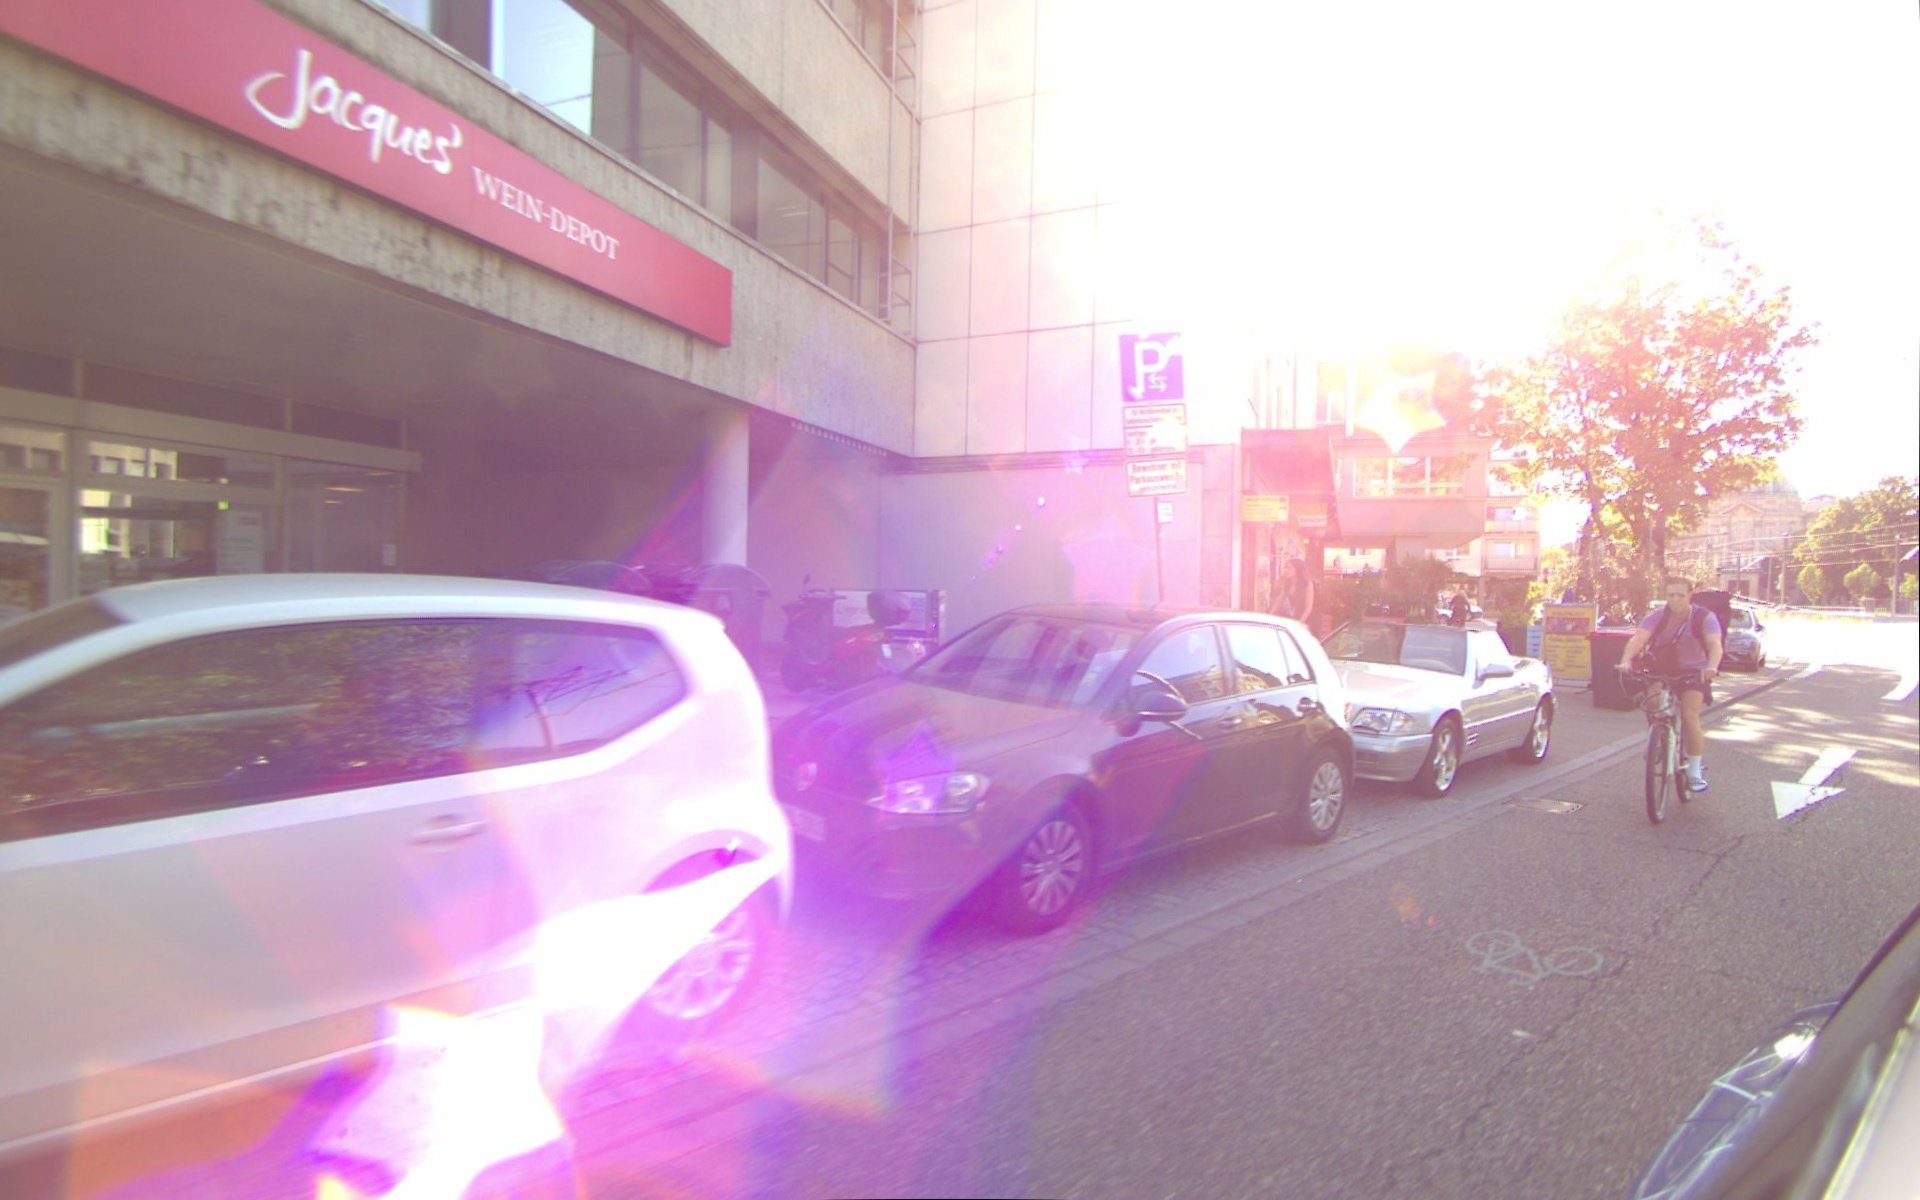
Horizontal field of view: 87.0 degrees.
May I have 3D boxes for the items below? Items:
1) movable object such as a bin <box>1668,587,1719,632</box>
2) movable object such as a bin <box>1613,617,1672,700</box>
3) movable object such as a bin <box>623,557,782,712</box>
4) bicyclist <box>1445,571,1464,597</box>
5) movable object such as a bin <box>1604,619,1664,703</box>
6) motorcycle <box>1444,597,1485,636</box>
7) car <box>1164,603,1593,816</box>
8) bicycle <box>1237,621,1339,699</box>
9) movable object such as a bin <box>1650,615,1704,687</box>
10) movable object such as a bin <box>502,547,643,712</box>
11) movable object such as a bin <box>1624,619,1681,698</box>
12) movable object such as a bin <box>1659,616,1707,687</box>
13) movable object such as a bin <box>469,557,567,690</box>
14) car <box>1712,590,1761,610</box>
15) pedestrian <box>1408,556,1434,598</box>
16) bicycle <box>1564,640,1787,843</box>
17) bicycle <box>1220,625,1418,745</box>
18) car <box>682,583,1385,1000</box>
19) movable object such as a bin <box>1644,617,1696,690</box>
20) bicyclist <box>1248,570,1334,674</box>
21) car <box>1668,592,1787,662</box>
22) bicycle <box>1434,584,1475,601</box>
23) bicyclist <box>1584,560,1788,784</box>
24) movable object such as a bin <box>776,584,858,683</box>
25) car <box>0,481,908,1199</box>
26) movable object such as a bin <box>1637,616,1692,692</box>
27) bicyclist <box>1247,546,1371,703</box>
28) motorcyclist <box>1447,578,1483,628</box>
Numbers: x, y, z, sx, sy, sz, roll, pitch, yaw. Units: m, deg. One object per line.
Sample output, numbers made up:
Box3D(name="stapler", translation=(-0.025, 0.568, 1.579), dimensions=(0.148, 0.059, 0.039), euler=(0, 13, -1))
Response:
Box3D(name="movable object such as a bin", translation=(23.991, 0.298, 33.096), dimensions=(1.278, 1.409, 0.909), euler=(-1, 0, 40))
Box3D(name="movable object such as a bin", translation=(9.661, 0.812, 14.331), dimensions=(0.610, 1.119, 0.518), euler=(-1, 0, 43))
Box3D(name="movable object such as a bin", translation=(-2.591, 0.304, 10.116), dimensions=(1.100, 1.415, 1.340), euler=(-1, 0, -36))
Box3D(name="bicyclist", translation=(29.851, -0.972, 61.096), dimensions=(0.924, 1.580, 0.935), euler=(-1, 0, 20))
Box3D(name="movable object such as a bin", translation=(9.262, 0.821, 13.904), dimensions=(0.592, 1.097, 0.595), euler=(-1, 0, 43))
Box3D(name="motorcycle", translation=(16.010, 0.507, 32.084), dimensions=(0.773, 1.140, 2.268), euler=(-1, 1, 36))
Box3D(name="car", translation=(3.993, 0.766, 9.231), dimensions=(4.521, 1.361, 1.853), euler=(-2, 1, -42))
Box3D(name="bicycle", translation=(4.475, 0.772, 13.703), dimensions=(0.534, 0.903, 2.039), euler=(-1, 1, 42))
Box3D(name="movable object such as a bin", translation=(11.345, 0.792, 16.009), dimensions=(0.618, 1.082, 0.601), euler=(-1, 0, 42))
Box3D(name="movable object such as a bin", translation=(-3.734, 0.248, 9.700), dimensions=(0.941, 1.451, 1.304), euler=(-1, 0, -36))
Box3D(name="movable object such as a bin", translation=(10.068, 0.835, 14.714), dimensions=(0.604, 1.082, 0.537), euler=(-1, 0, 43))
Box3D(name="movable object such as a bin", translation=(11.759, 0.824, 16.460), dimensions=(0.573, 1.096, 0.562), euler=(-1, 0, 42))
Box3D(name="movable object such as a bin", translation=(-4.920, 0.237, 11.255), dimensions=(0.836, 1.401, 0.795), euler=(-1, 0, -36))
Box3D(name="car", translation=(63.084, -0.008, 82.310), dimensions=(1.976, 1.556, 4.327), euler=(-1, 1, 21))
Box3D(name="pedestrian", translation=(20.866, -1.028, 45.789), dimensions=(0.826, 1.867, 0.877), euler=(-1, 0, 44))
Box3D(name="bicycle", translation=(5.322, 0.934, 7.465), dimensions=(2.191, 1.150, 0.886), euler=(-2, 1, -42))
Box3D(name="bicycle", translation=(3.997, 0.914, 11.312), dimensions=(1.923, 1.200, 0.824), euler=(-1, 0, -13))
Box3D(name="car", translation=(0.690, 0.703, 5.857), dimensions=(4.128, 1.537, 1.673), euler=(-2, 1, -42))
Box3D(name="movable object such as a bin", translation=(10.944, 0.808, 15.604), dimensions=(0.590, 1.082, 0.488), euler=(-1, 0, 43))
Box3D(name="bicyclist", translation=(4.484, 0.274, 13.690), dimensions=(0.757, 1.343, 0.979), euler=(-1, 0, 42))
Box3D(name="car", translation=(18.224, 0.581, 23.963), dimensions=(1.765, 1.456, 4.511), euler=(2, 1, 43))
Box3D(name="bicycle", translation=(29.858, -0.442, 61.090), dimensions=(2.122, 1.013, 0.855), euler=(-1, 0, 20))
Box3D(name="bicyclist", translation=(5.381, 0.475, 7.508), dimensions=(0.971, 1.502, 1.039), euler=(-1, 0, -42))
Box3D(name="movable object such as a bin", translation=(-1.748, 0.390, 12.342), dimensions=(0.710, 1.148, 0.745), euler=(-1, 0, -38))
Box3D(name="car", translation=(-2.200, 0.596, 3.211), dimensions=(3.805, 1.710, 1.852), euler=(-2, 1, -45))
Box3D(name="movable object such as a bin", translation=(10.561, 0.800, 15.168), dimensions=(0.605, 1.082, 0.604), euler=(-1, 0, 42))
Box3D(name="bicyclist", translation=(3.870, 0.246, 11.282), dimensions=(0.916, 1.654, 0.944), euler=(-1, 0, -12))
Box3D(name="motorcyclist", translation=(16.033, 0.093, 32.135), dimensions=(0.895, 1.570, 0.796), euler=(-1, 0, 36))
